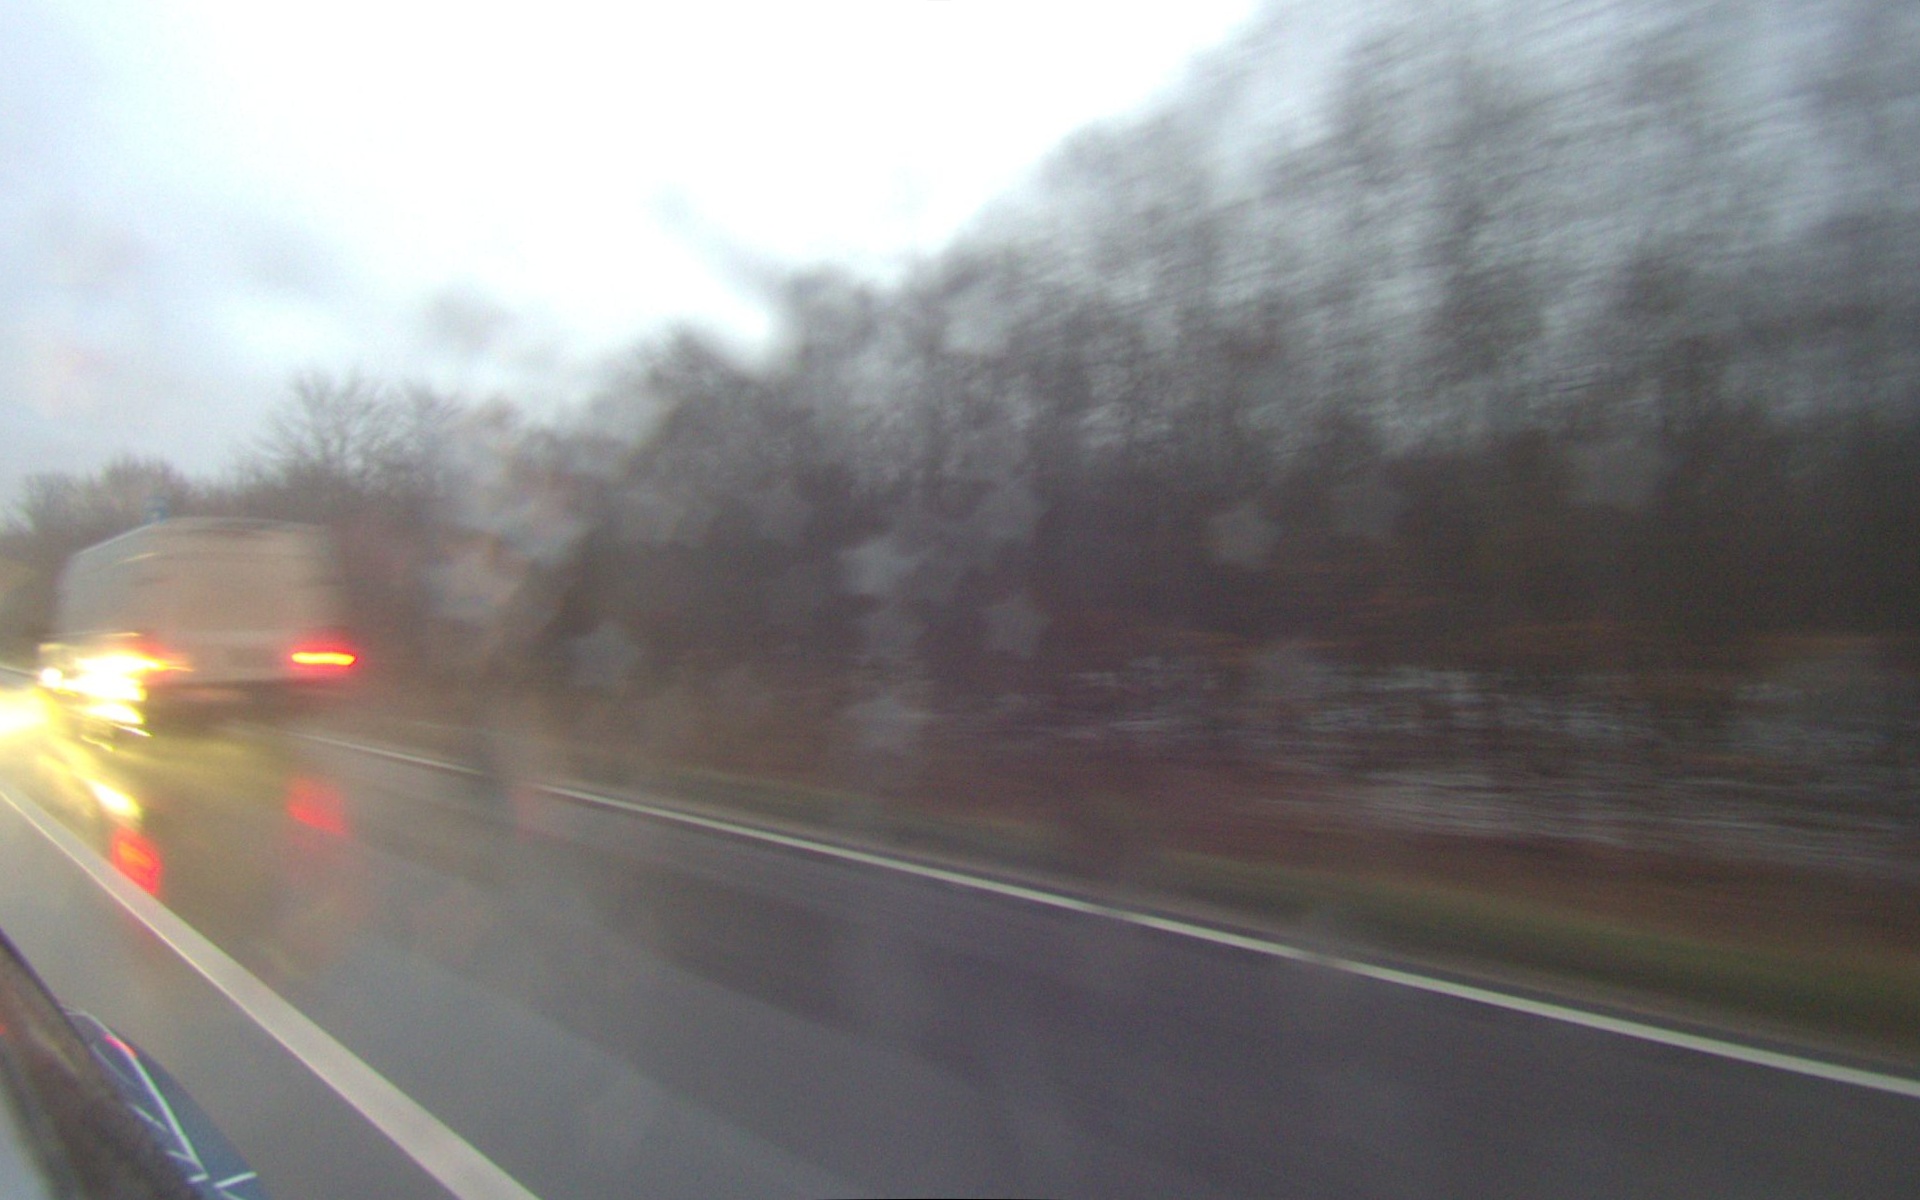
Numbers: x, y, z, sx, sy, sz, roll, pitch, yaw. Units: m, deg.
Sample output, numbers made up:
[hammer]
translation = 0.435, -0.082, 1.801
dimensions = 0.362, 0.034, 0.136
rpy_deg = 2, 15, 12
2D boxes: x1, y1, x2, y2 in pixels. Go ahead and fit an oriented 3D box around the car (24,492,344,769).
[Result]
[car]
translation = -10.447, 0.352, 13.330
dimensions = 6.649, 2.832, 2.052
rpy_deg = -1, -1, 41
